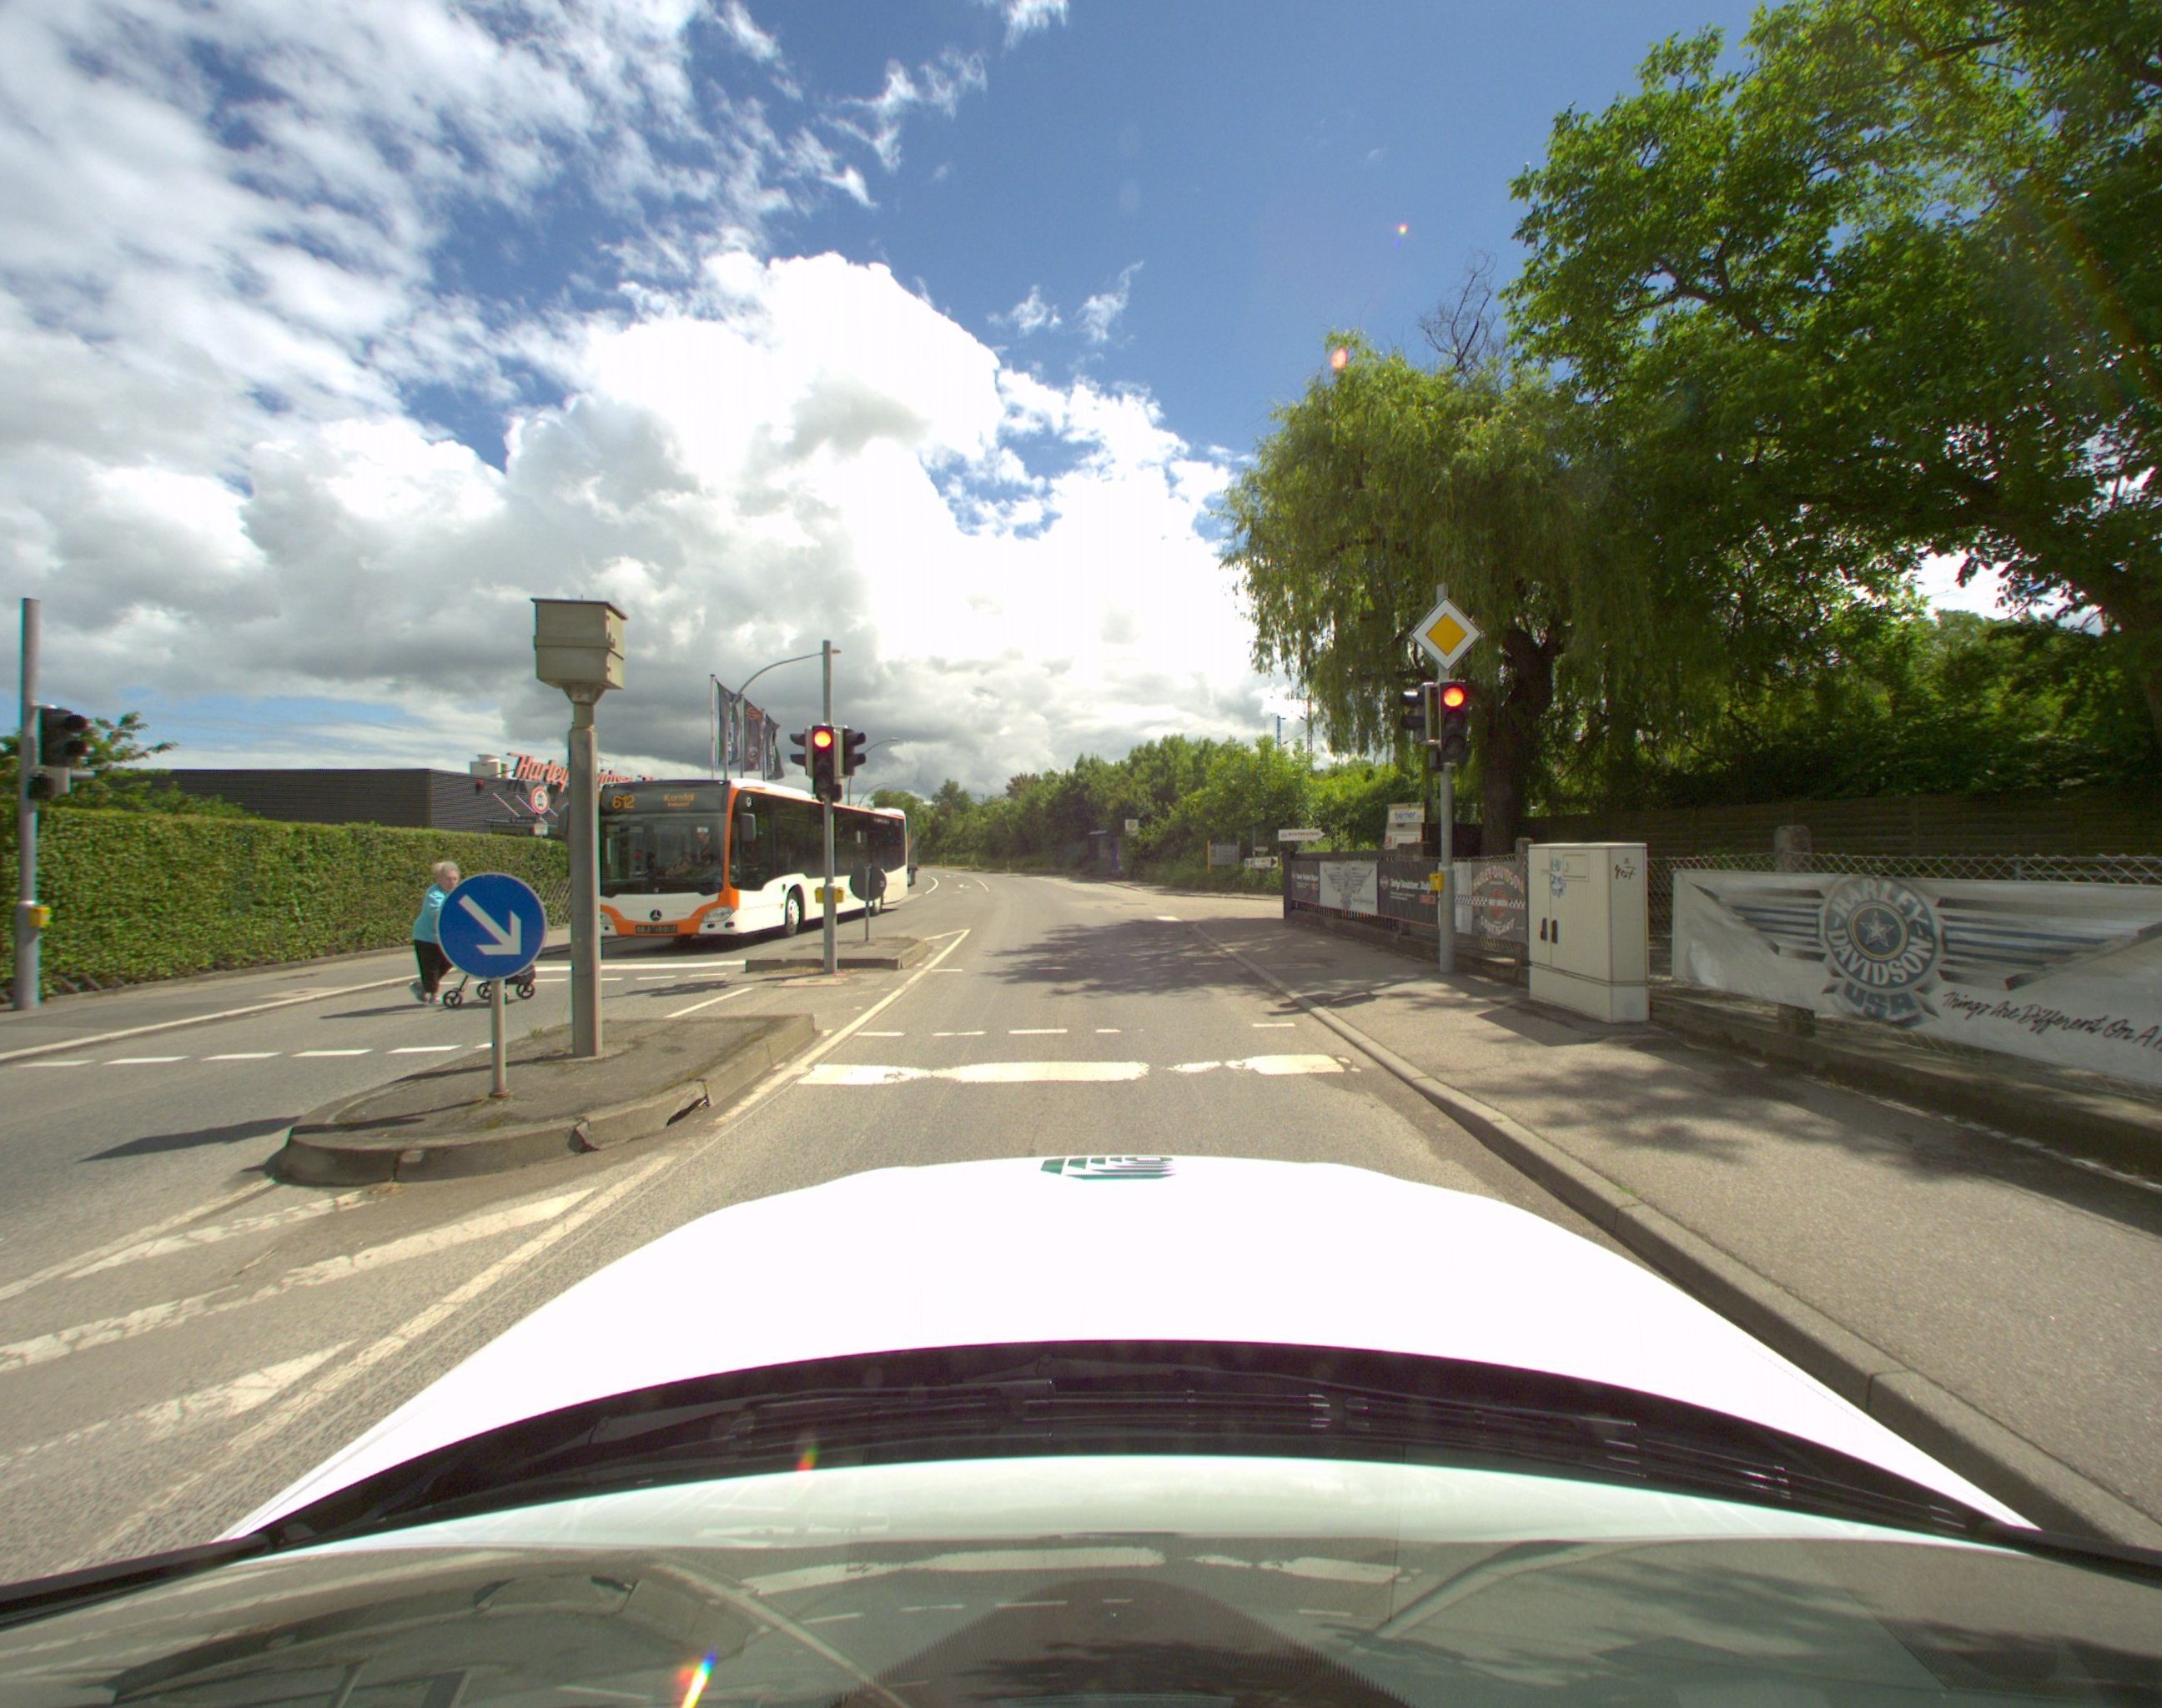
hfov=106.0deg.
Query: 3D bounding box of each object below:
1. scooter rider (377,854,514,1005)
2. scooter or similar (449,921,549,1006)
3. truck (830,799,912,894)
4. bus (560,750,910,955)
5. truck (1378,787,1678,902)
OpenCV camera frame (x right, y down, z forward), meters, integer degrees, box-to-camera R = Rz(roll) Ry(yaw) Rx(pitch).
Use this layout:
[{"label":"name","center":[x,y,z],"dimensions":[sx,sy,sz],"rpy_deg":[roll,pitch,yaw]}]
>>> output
[{"label":"scooter rider","center":[-6.994,0.799,9.005],"dimensions":[0.875,1.589,0.796],"rpy_deg":[0,0,0]},{"label":"scooter or similar","center":[-6.385,1.186,8.960],"dimensions":[0.609,0.831,0.659],"rpy_deg":[-1,0,0]},{"label":"truck","center":[-10.226,-0.302,40.584],"dimensions":[2.425,4.131,9.132],"rpy_deg":[1,-1,-6]},{"label":"bus","center":[-6.928,0.002,19.373],"dimensions":[2.767,3.266,12.127],"rpy_deg":[-2,0,2]},{"label":"truck","center":[15.644,-0.254,28.618],"dimensions":[9.698,3.541,2.837],"rpy_deg":[2,-1,-12]}]
